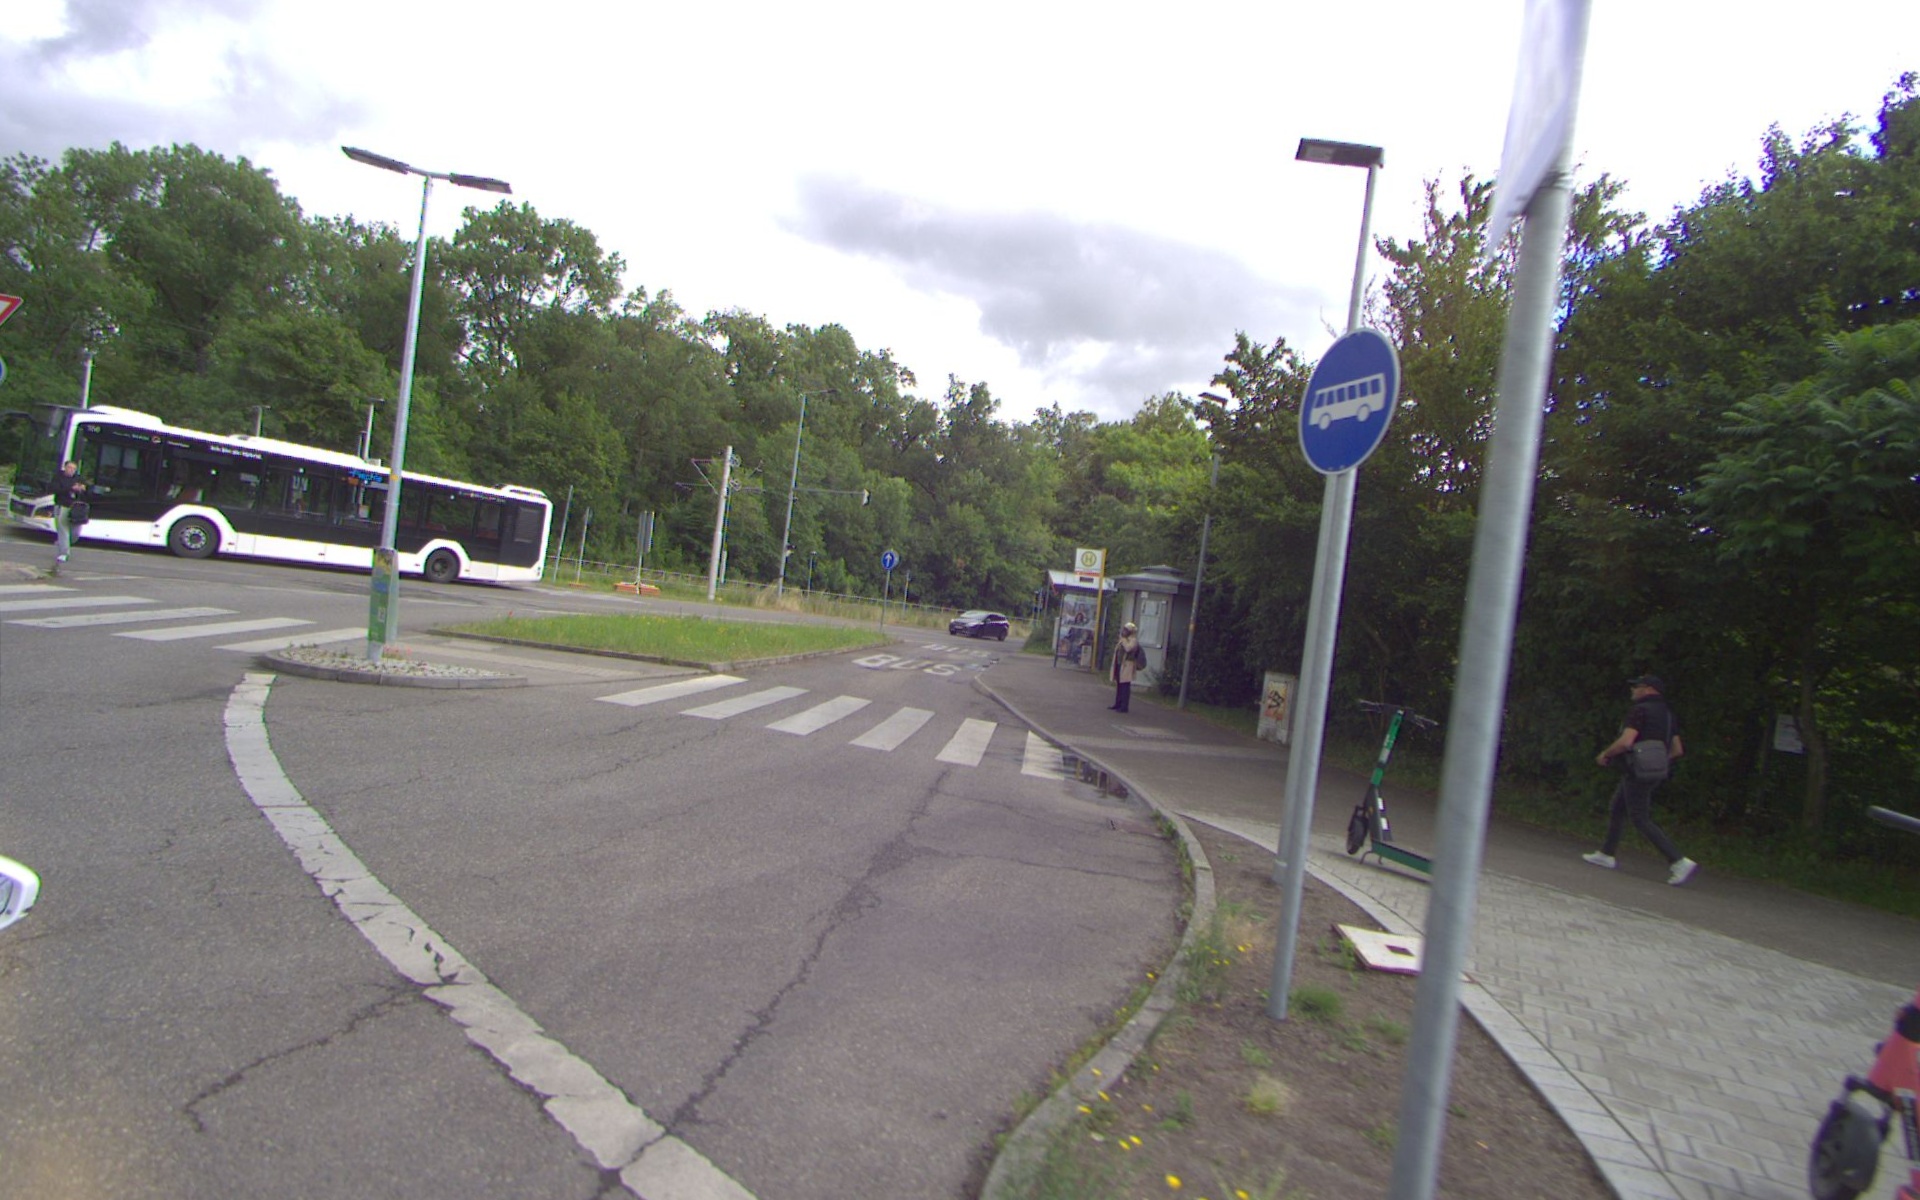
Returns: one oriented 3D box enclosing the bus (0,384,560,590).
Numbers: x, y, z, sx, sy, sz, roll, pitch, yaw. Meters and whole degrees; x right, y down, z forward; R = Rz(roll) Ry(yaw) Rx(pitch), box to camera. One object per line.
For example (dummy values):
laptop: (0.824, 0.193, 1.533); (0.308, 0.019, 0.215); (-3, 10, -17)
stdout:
bus: (-16.731, -2.506, 26.542); (2.630, 3.242, 12.179); (8, 0, 30)

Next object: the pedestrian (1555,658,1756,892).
pedestrian: (6.193, 1.523, 9.025); (0.842, 1.844, 0.983); (7, 1, -7)

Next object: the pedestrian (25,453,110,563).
pedestrian: (-15.940, -1.635, 18.006); (0.951, 1.768, 1.050); (8, 0, -41)

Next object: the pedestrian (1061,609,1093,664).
pedestrian: (3.778, 1.181, 32.545); (0.756, 1.670, 0.687); (8, 1, 12)

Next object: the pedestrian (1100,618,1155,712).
pedestrian: (3.085, 1.193, 18.583); (0.674, 1.613, 0.771); (8, 1, -2)

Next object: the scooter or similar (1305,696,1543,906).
scooter or similar: (3.537, 1.499, 7.796); (0.615, 1.290, 1.485); (8, -1, -28)

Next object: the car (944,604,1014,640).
car: (1.049, 1.214, 53.580); (1.731, 1.452, 4.423); (8, 0, 29)

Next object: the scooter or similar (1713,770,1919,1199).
scooter or similar: (2.932, 1.253, 2.524); (0.563, 1.329, 1.521); (8, 0, -13)

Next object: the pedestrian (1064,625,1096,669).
pedestrian: (3.626, 1.414, 30.443); (0.736, 1.184, 0.771); (8, 0, 1)
